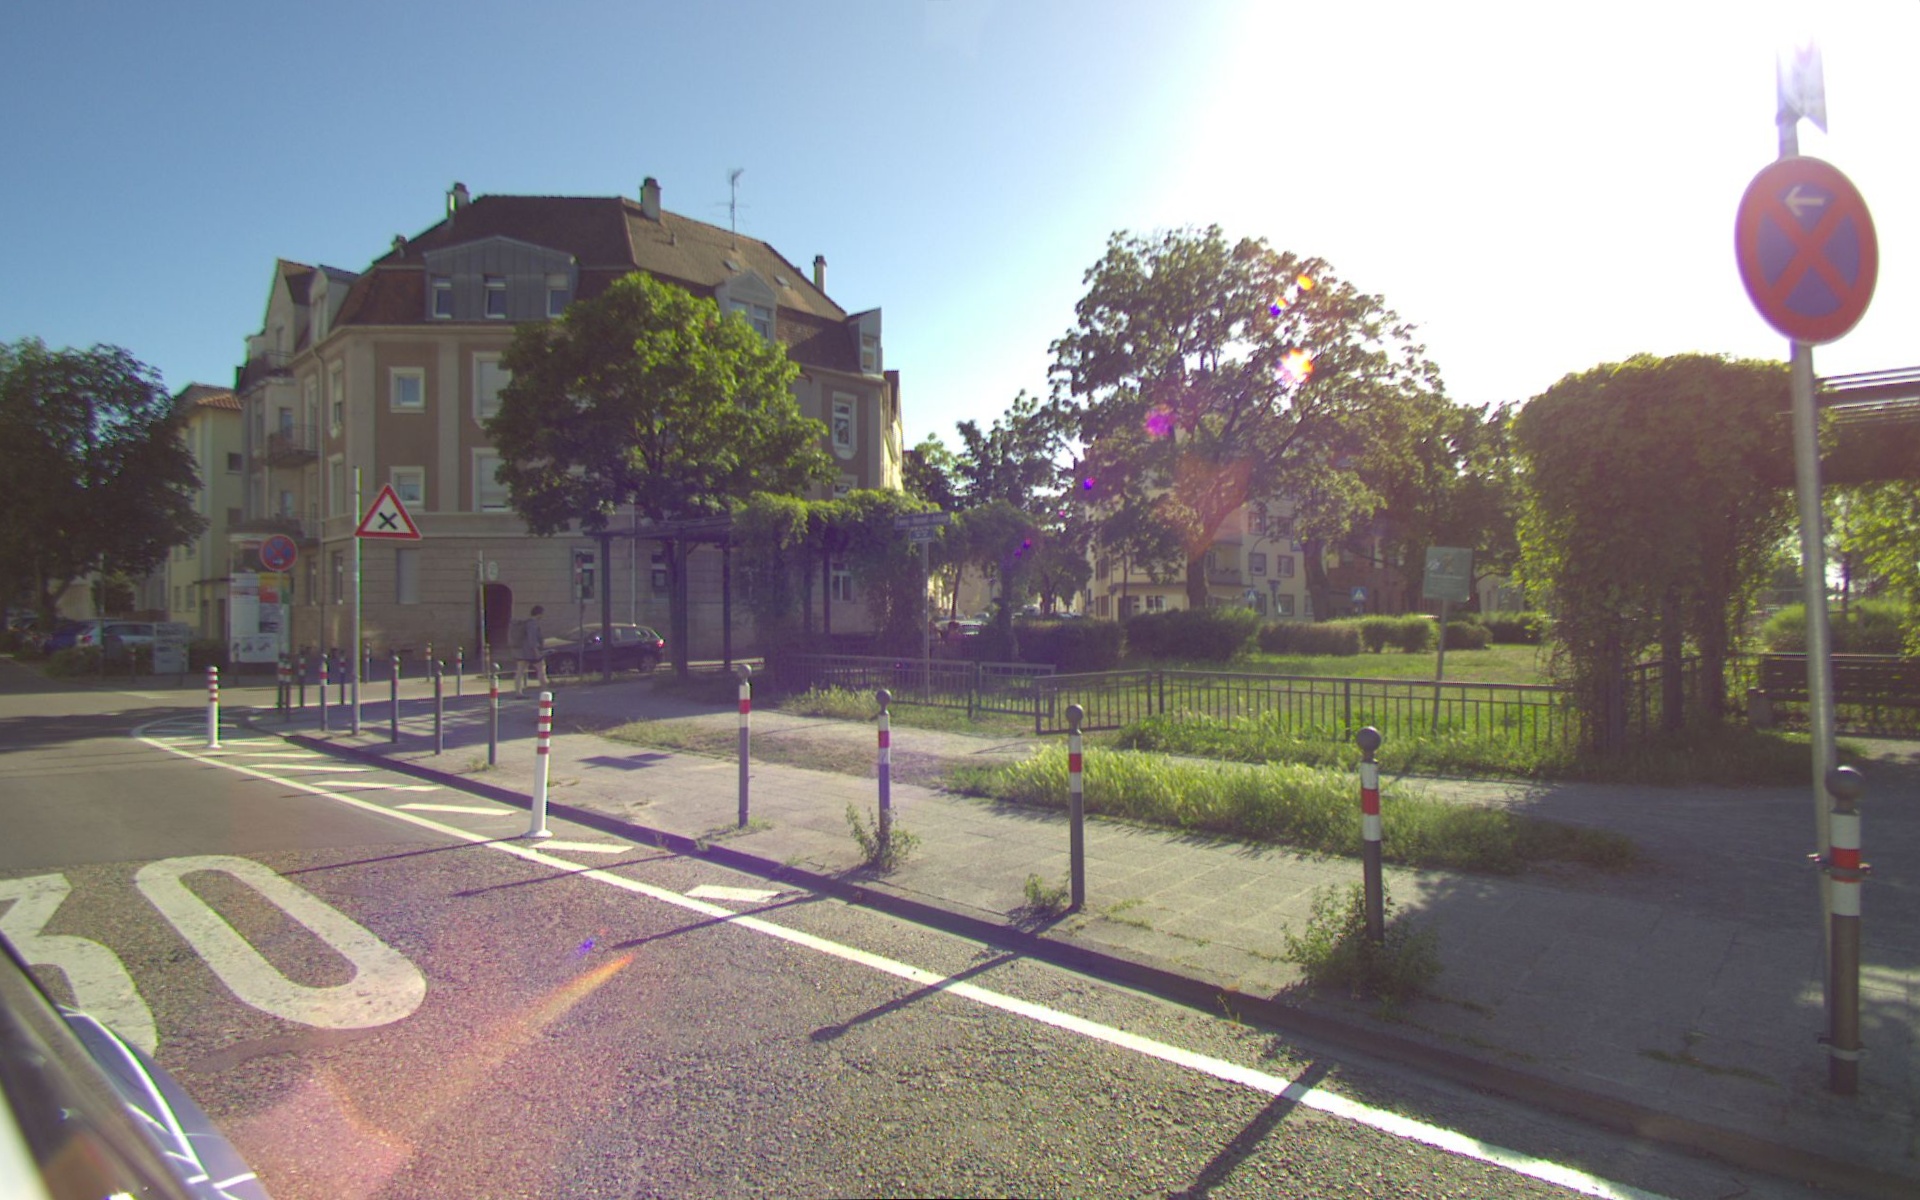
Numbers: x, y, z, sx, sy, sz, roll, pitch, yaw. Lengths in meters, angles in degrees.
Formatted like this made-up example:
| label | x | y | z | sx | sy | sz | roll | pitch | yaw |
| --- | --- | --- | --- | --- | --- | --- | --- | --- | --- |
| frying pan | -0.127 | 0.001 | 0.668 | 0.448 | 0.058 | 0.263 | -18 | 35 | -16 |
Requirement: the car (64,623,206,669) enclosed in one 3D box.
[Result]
| label | x | y | z | sx | sy | sz | roll | pitch | yaw |
| --- | --- | --- | --- | --- | --- | --- | --- | --- | --- |
| car | -29.678 | 1.618 | 36.501 | 1.691 | 1.455 | 3.740 | -1 | 0 | 40 |

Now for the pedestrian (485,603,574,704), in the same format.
| label | x | y | z | sx | sy | sz | roll | pitch | yaw |
| --- | --- | --- | --- | --- | --- | --- | --- | --- | --- |
| pedestrian | -7.631 | 0.924 | 17.968 | 0.908 | 1.686 | 1.081 | -1 | 2 | 26 |

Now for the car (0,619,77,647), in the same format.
| label | x | y | z | sx | sy | sz | roll | pitch | yaw |
| --- | --- | --- | --- | --- | --- | --- | --- | --- | --- |
| car | -53.491 | 1.880 | 58.455 | 1.690 | 1.506 | 3.485 | -1 | 0 | 38 |

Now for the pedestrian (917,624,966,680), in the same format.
| label | x | y | z | sx | sy | sz | roll | pitch | yaw |
| --- | --- | --- | --- | --- | --- | --- | --- | --- | --- |
| pedestrian | -0.385 | 1.091 | 21.520 | 0.599 | 1.147 | 0.862 | -2 | -2 | 44 |

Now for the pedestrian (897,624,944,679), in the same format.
| label | x | y | z | sx | sy | sz | roll | pitch | yaw |
| --- | --- | --- | --- | --- | --- | --- | --- | --- | --- |
| pedestrian | -0.861 | 1.107 | 22.008 | 0.599 | 1.158 | 0.834 | -2 | -2 | 44 |

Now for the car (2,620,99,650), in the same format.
| label | x | y | z | sx | sy | sz | roll | pitch | yaw |
| --- | --- | --- | --- | --- | --- | --- | --- | --- | --- |
| car | -50.161 | 1.919 | 55.863 | 1.690 | 1.506 | 3.742 | -1 | 0 | 38 |

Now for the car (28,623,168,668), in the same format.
| label | x | y | z | sx | sy | sz | roll | pitch | yaw |
| --- | --- | --- | --- | --- | --- | --- | --- | --- | --- |
| car | -31.802 | 1.637 | 37.422 | 1.691 | 1.506 | 3.740 | -1 | 0 | 40 |

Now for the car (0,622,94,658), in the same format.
| label | x | y | z | sx | sy | sz | roll | pitch | yaw |
| --- | --- | --- | --- | --- | --- | --- | --- | --- | --- |
| car | -42.667 | 1.835 | 46.732 | 1.685 | 1.506 | 3.752 | -1 | 0 | 30 |

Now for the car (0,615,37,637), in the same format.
| label | x | y | z | sx | sy | sz | roll | pitch | yaw |
| --- | --- | --- | --- | --- | --- | --- | --- | --- | --- |
| car | -76.684 | 2.105 | 81.341 | 1.691 | 1.716 | 3.482 | -1 | -1 | 41 |

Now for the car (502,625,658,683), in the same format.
| label | x | y | z | sx | sy | sz | roll | pitch | yaw |
| --- | --- | --- | --- | --- | --- | --- | --- | --- | --- |
| car | -11.299 | 1.543 | 30.290 | 1.867 | 1.494 | 3.961 | 3 | 1 | 40 |
